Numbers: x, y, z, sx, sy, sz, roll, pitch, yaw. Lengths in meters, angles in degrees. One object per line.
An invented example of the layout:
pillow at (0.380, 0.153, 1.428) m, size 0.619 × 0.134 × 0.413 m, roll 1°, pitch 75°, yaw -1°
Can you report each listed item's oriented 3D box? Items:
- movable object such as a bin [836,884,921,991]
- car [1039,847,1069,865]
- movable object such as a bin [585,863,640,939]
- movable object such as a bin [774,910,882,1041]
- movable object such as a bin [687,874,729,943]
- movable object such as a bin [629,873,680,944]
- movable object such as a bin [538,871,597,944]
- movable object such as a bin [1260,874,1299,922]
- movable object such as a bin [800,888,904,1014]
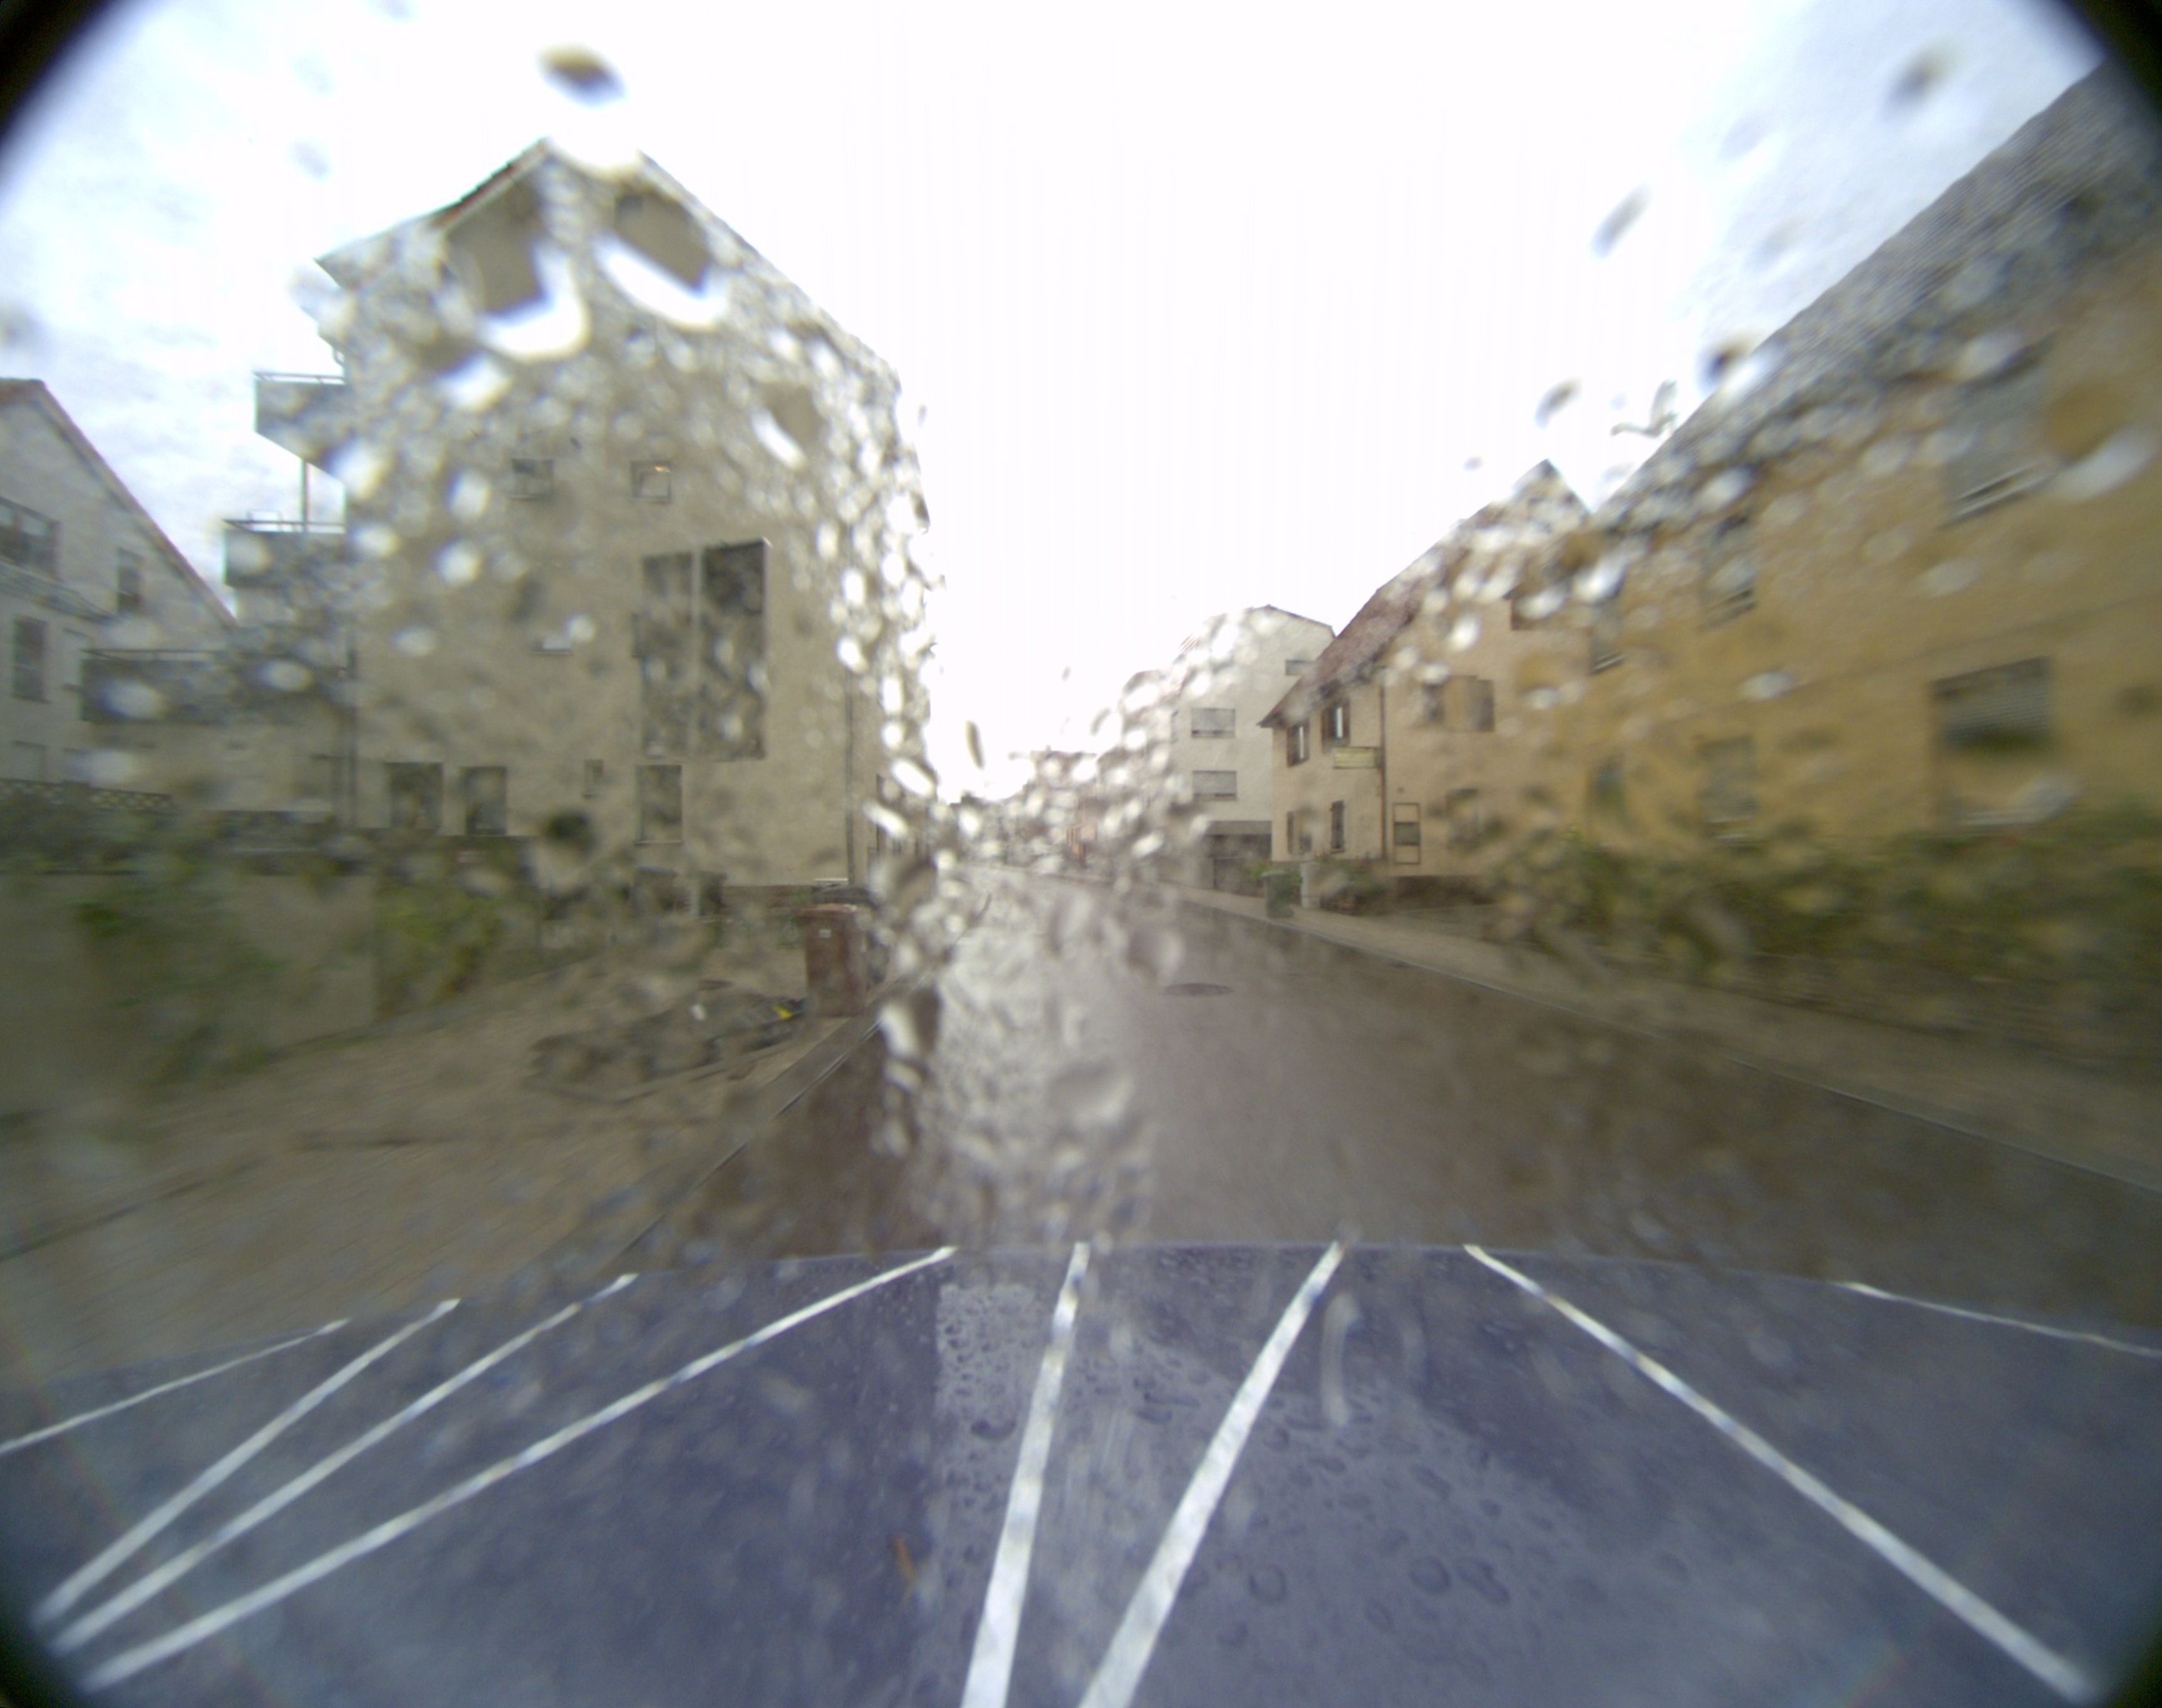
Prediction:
movable object such as a bin at (-2.589, 1.044, 9.820) m, size 0.797 × 1.241 × 1.060 m, roll 2°, pitch 1°, yaw -1°
car at (-2.349, 0.160, 66.020) m, size 2.000 × 1.437 × 3.996 m, roll -2°, pitch 1°, yaw -10°
movable object such as a bin at (-7.664, 0.754, 12.447) m, size 0.586 × 1.178 × 0.719 m, roll 1°, pitch 1°, yaw -17°
movable object such as a bin at (-2.411, 1.141, 7.326) m, size 0.762 × 1.103 × 0.809 m, roll 2°, pitch 1°, yaw -1°
movable object such as a bin at (-6.317, 0.913, 12.885) m, size 0.511 × 1.103 × 0.719 m, roll 1°, pitch 1°, yaw -17°
movable object such as a bin at (-7.086, 0.890, 12.655) m, size 0.586 × 1.103 × 0.719 m, roll 1°, pitch 1°, yaw -17°
movable object such as a bin at (-8.242, 0.846, 12.220) m, size 0.586 × 1.103 × 0.719 m, roll 1°, pitch 1°, yaw -17°
movable object such as a bin at (4.602, 1.005, 17.621) m, size 0.715 × 1.053 × 0.575 m, roll -2°, pitch 2°, yaw -1°
movable object such as a bin at (-2.567, 1.061, 8.662) m, size 0.797 × 1.241 × 1.243 m, roll 2°, pitch 1°, yaw -1°
